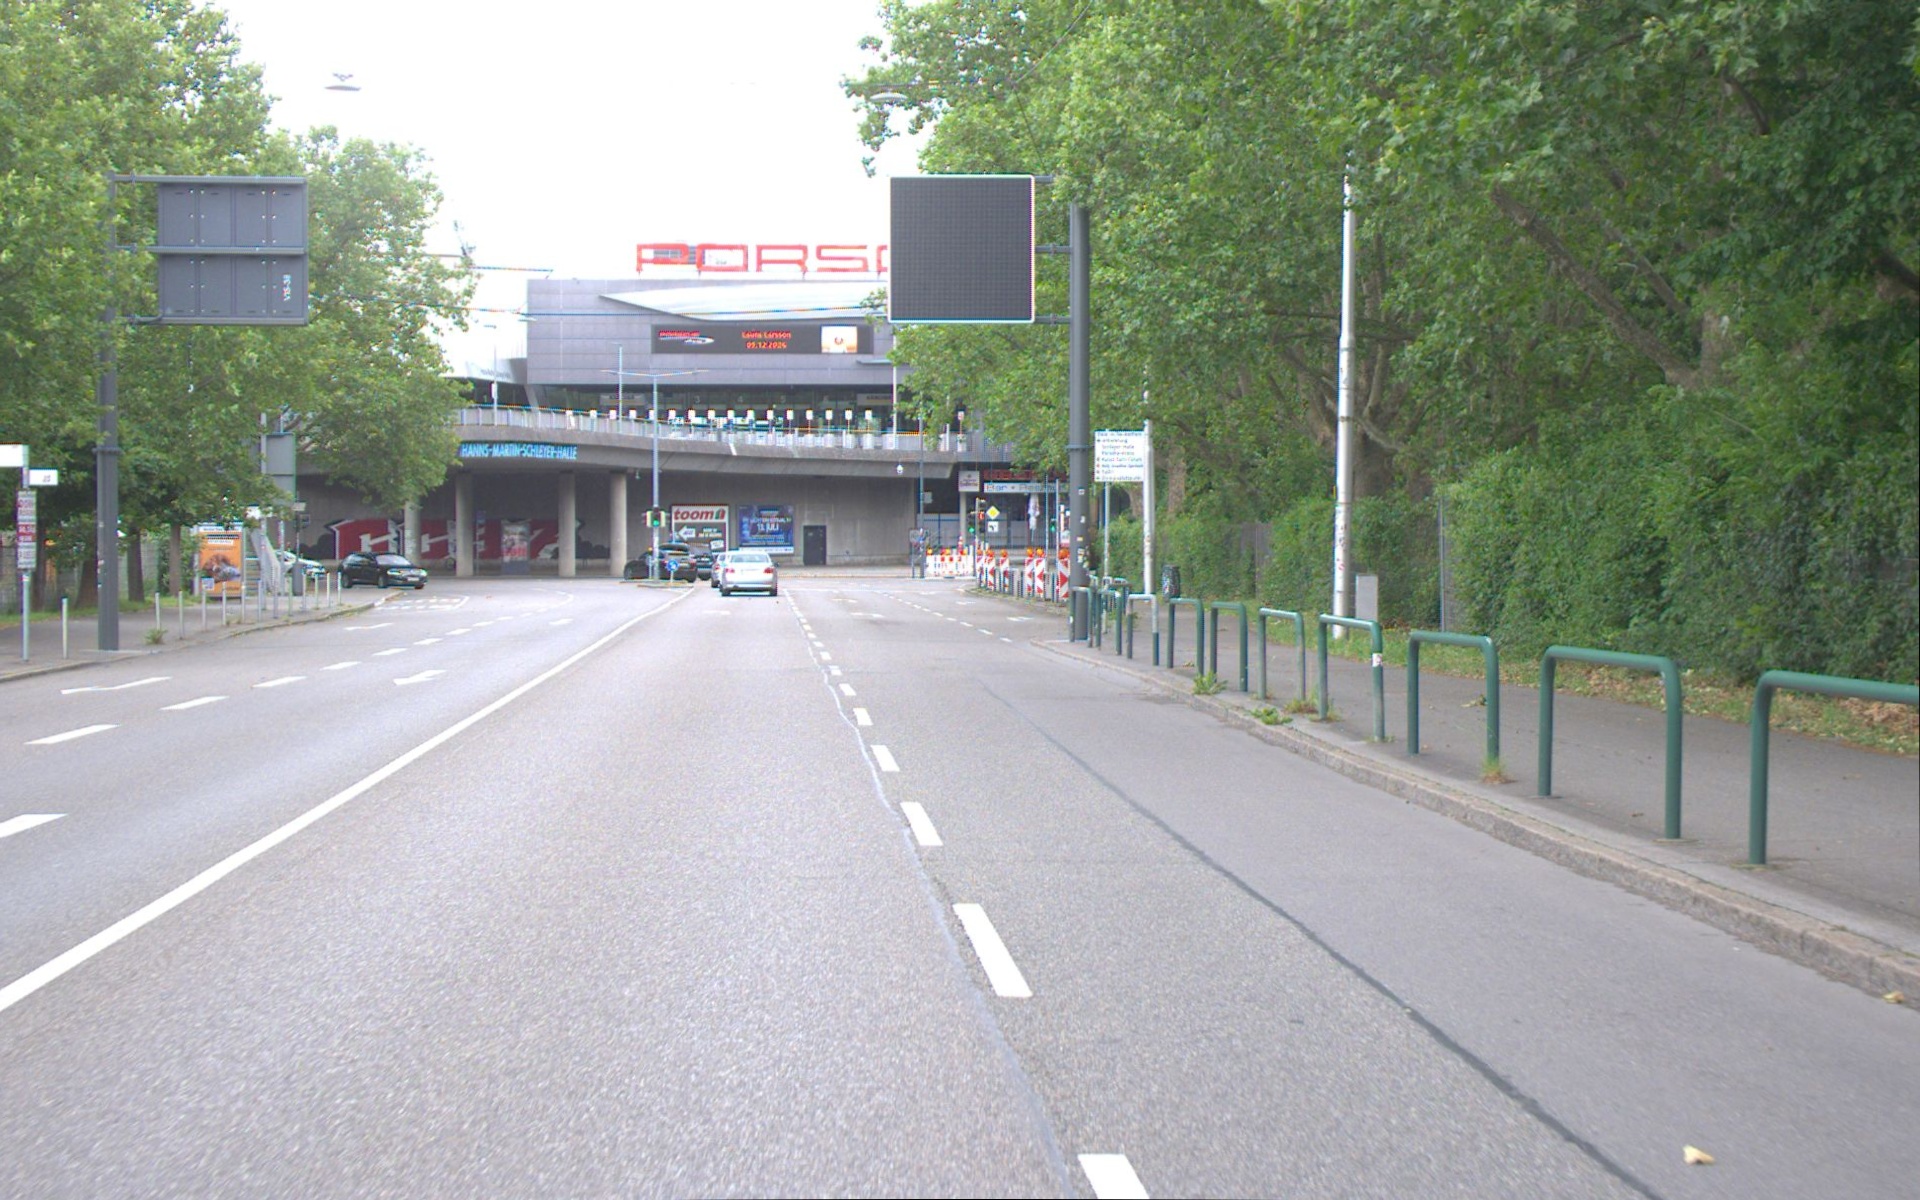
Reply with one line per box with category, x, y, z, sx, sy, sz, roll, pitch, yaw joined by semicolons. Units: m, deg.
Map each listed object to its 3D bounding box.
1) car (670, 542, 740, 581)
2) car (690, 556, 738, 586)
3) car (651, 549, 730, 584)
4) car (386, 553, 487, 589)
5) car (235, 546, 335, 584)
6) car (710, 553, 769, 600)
car;-11.610;-1.763;156.251;2.007;1.693;4.070;0;1;-23
car;-9.692;-1.156;135.185;1.411;1.109;3.039;2;1;-13
car;-11.675;-1.472;148.761;1.993;1.481;4.001;0;1;-28
car;-20.353;-1.121;133.631;3.578;1.268;1.659;2;1;29
car;-28.820;-1.499;146.764;3.872;1.573;1.625;0;1;17
car;-7.228;-0.788;112.951;1.778;1.455;3.822;2;1;-2
